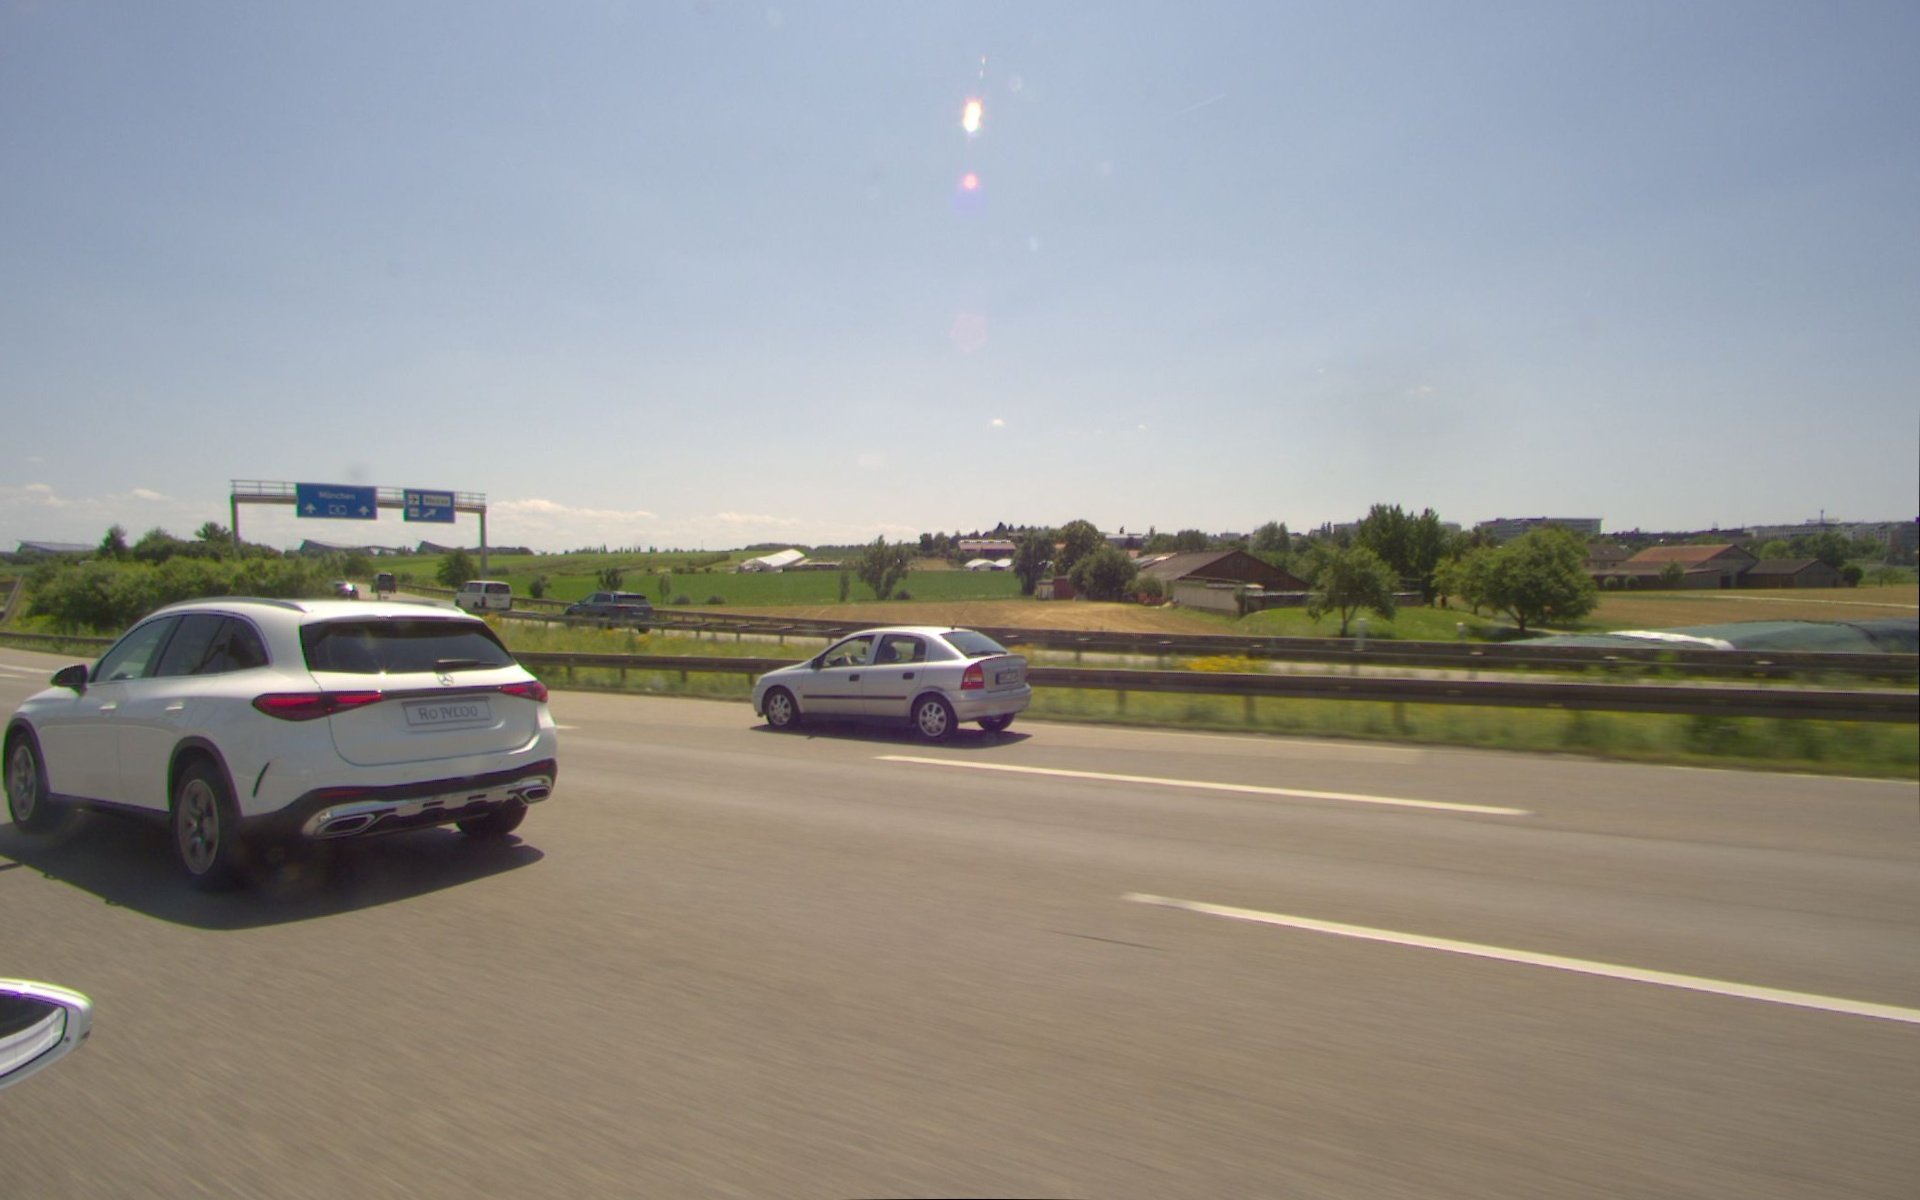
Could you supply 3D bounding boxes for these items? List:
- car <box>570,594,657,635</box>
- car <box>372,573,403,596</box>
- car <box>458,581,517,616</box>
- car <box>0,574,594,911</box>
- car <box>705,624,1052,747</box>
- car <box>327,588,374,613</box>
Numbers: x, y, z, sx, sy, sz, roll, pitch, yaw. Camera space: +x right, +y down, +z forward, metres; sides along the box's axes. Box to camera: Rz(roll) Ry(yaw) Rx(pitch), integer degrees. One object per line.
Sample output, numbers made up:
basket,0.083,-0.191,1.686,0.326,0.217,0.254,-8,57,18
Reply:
car,-14.301,0.625,41.209,4.084,1.595,1.690,-2,-1,43
car,-54.510,-1.431,95.325,1.924,1.948,4.145,0,-1,-40
car,-28.627,-0.061,60.647,4.136,1.948,1.928,-2,-1,44
car,-4.987,0.776,7.102,4.928,1.668,1.894,-1,-1,32
car,-1.246,1.094,14.010,4.780,1.456,1.782,-2,-1,34
car,-43.043,0.047,70.672,3.959,1.616,1.982,-2,-2,45
